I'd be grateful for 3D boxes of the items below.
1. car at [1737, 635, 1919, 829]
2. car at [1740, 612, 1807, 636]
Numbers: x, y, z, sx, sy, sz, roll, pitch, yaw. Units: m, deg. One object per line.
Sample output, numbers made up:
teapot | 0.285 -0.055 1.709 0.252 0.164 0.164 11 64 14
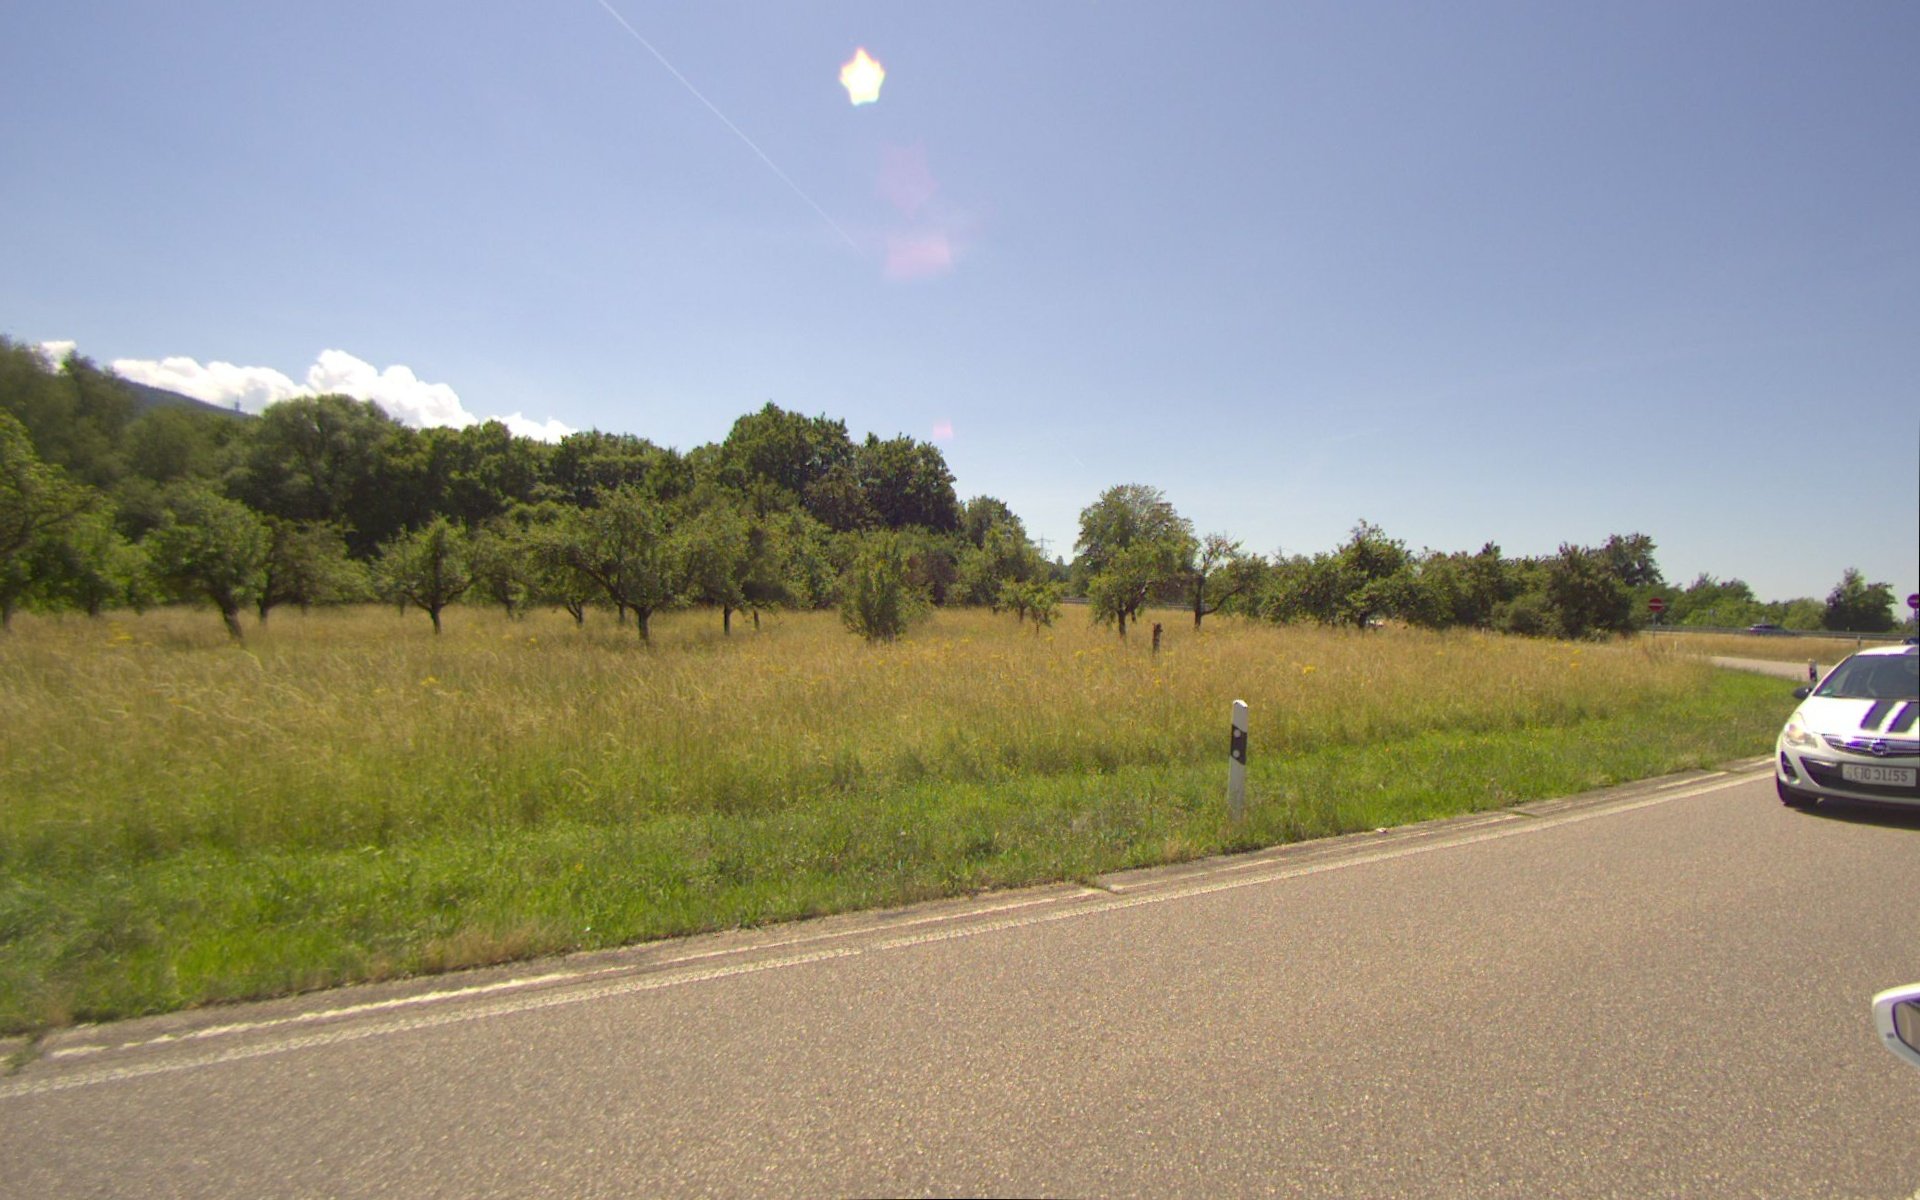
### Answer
car | 9.092 1.090 9.384 4.132 1.526 1.810 1 -3 -36
car | 76.860 2.259 94.946 4.438 1.953 2.001 4 0 15
